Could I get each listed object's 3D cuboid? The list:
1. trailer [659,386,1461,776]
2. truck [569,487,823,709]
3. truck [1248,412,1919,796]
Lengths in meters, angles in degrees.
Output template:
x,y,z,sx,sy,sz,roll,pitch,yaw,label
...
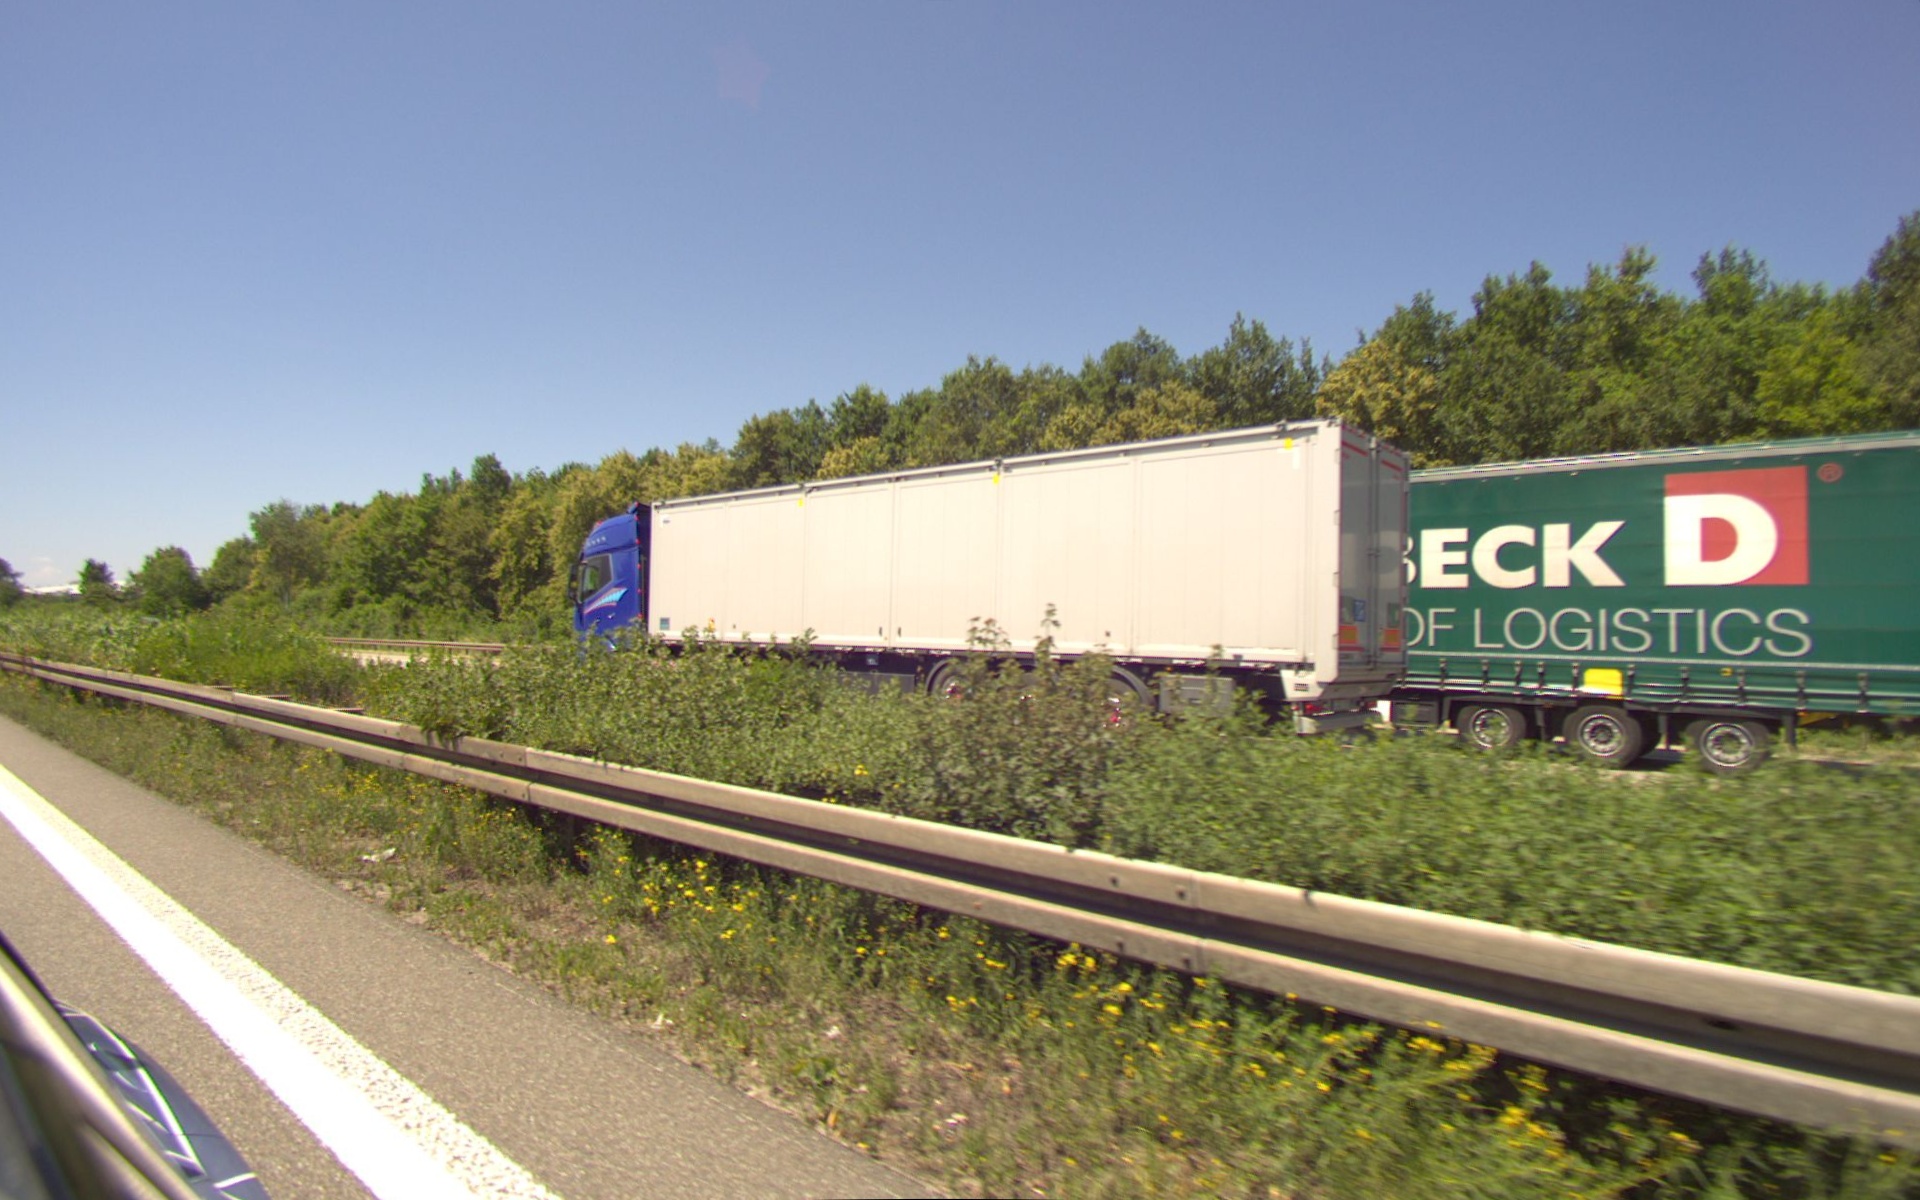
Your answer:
x,y,z,sx,sy,sz,roll,pitch,yaw,label
0.239,-0.087,16.024,13.511,4.040,2.840,-1,-2,41,trailer
-5.568,0.019,21.098,4.997,4.040,2.840,-1,-2,41,truck
9.304,0.099,13.880,9.995,4.145,2.982,-1,-2,41,truck
